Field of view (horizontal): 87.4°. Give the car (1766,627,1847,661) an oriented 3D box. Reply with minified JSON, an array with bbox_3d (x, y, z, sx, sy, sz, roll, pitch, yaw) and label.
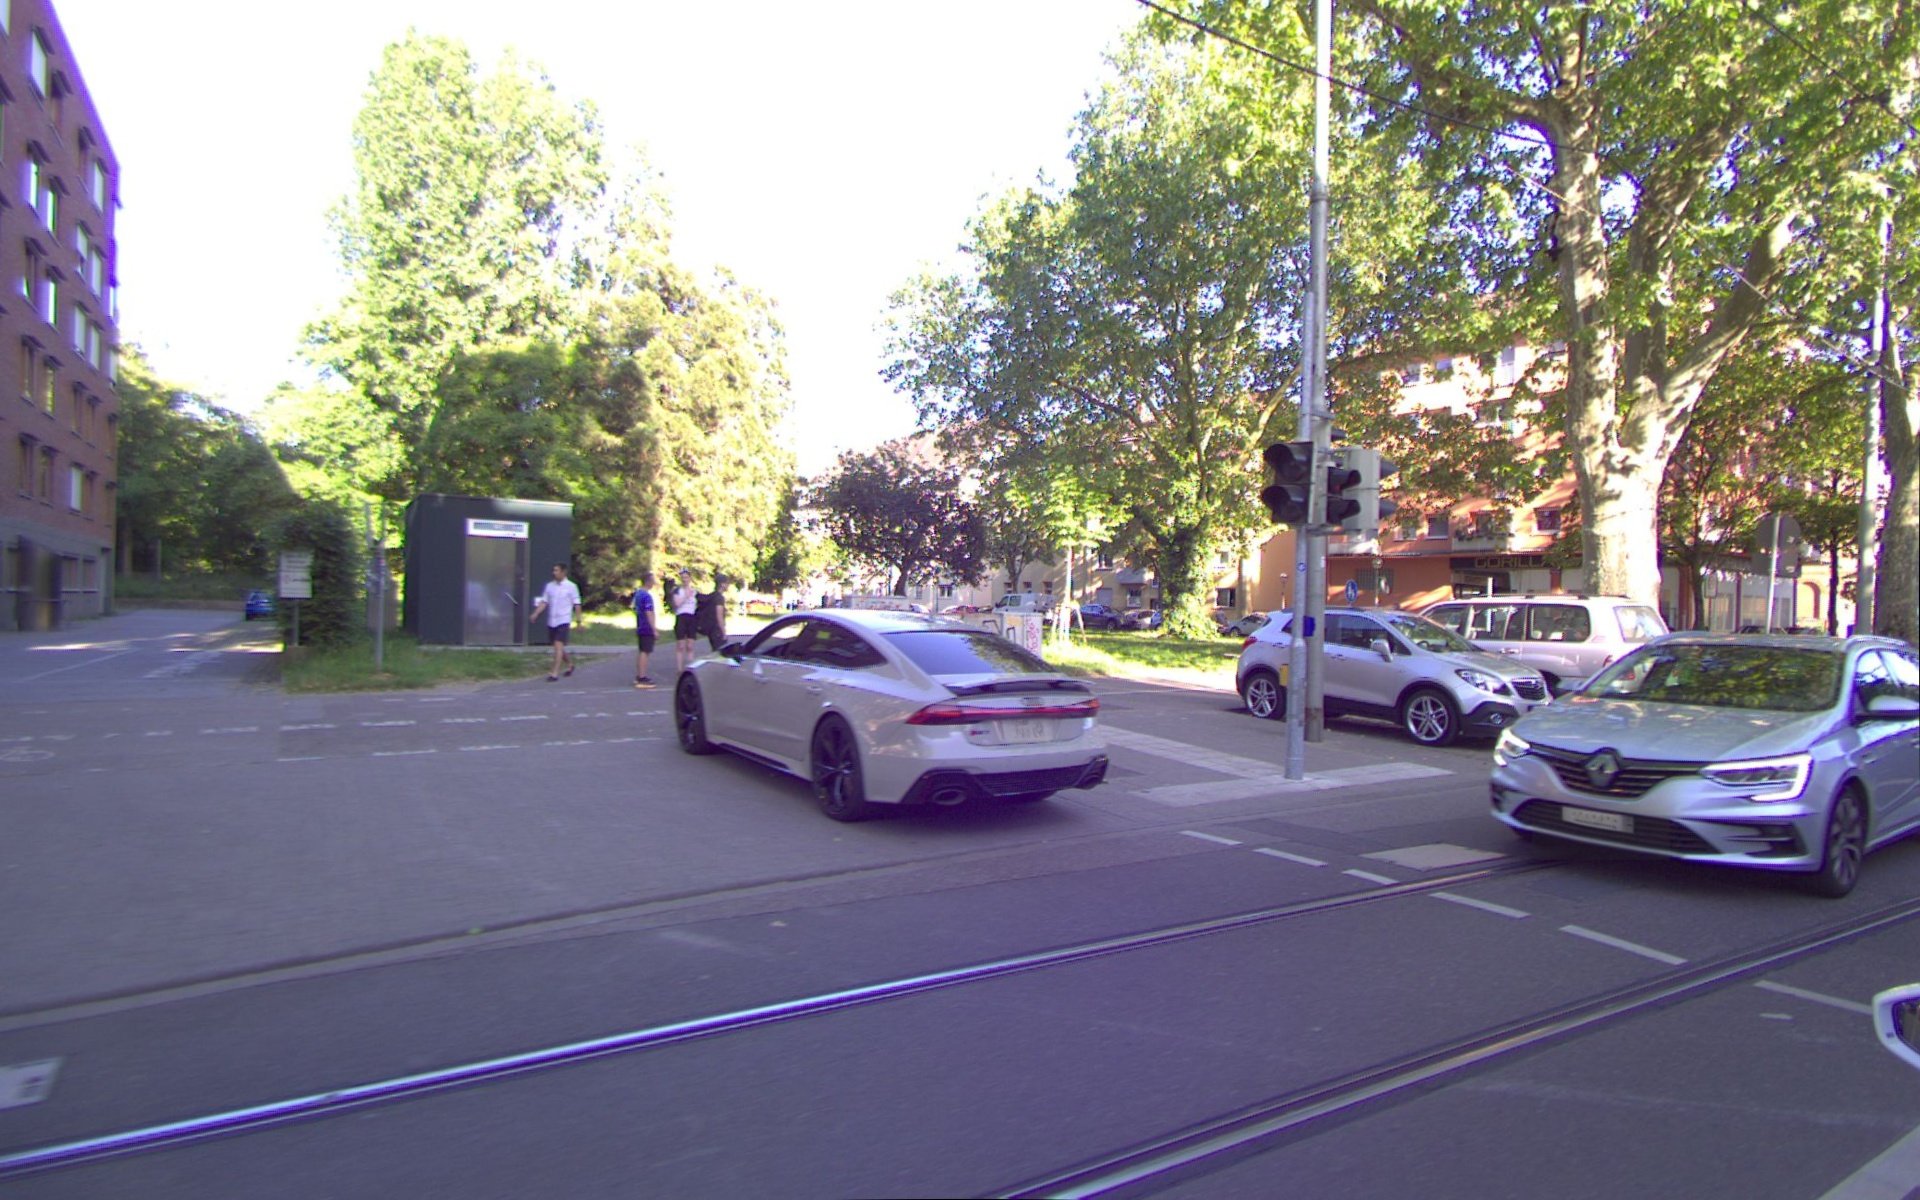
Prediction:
[{"bbox_3d":[41.245,2.143,48.908,3.957,1.507,1.936,2,0,-33],"label":"car"}]

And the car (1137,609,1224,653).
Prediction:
[{"bbox_3d":[11.454,1.587,52.342,1.985,2.040,3.952,2,0,-41],"label":"car"}]

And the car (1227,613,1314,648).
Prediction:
[{"bbox_3d":[14.762,1.419,47.896,1.674,1.469,3.679,2,0,-38],"label":"car"}]

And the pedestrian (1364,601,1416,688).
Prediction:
[{"bbox_3d":[9.323,0.968,21.780,0.742,1.834,0.641,2,1,-28],"label":"pedestrian"}]

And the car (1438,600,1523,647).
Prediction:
[{"bbox_3d":[24.562,1.122,47.348,4.885,2.030,1.975,2,0,-43],"label":"car"}]

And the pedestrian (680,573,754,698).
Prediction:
[{"bbox_3d":[-3.438,0.491,14.183,0.771,1.695,0.705,2,1,-33],"label":"pedestrian"}]

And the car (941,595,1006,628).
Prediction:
[{"bbox_3d":[0.909,0.796,68.581,1.981,2.040,4.697,2,0,-36],"label":"car"}]

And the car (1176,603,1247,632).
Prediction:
[{"bbox_3d":[15.260,1.063,60.759,4.448,1.639,1.927,2,0,-41],"label":"car"}]

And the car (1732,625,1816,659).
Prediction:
[{"bbox_3d":[37.735,1.940,46.559,3.851,1.426,1.936,2,0,-33],"label":"car"}]

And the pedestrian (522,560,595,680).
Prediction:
[{"bbox_3d":[-6.149,0.300,15.429,0.901,1.760,0.843,2,0,-16],"label":"pedestrian"}]

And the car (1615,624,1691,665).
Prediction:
[{"bbox_3d":[29.010,1.844,41.998,3.972,1.513,1.795,2,0,-44],"label":"car"}]

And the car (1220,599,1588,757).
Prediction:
[{"bbox_3d":[5.723,0.896,13.444,1.883,1.668,4.113,2,0,-34],"label":"car"}]

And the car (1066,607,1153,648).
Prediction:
[{"bbox_3d":[8.403,1.527,56.897,1.985,2.040,4.688,2,0,-41],"label":"car"}]

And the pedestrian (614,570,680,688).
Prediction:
[{"bbox_3d":[-4.631,0.423,14.871,0.684,1.681,0.561,2,1,31],"label":"pedestrian"}]

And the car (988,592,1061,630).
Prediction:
[{"bbox_3d":[4.056,0.676,63.857,2.024,2.227,4.697,2,0,-36],"label":"car"}]

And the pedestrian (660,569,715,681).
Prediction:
[{"bbox_3d":[-4.346,0.392,16.031,0.523,1.728,0.592,2,1,25],"label":"pedestrian"}]

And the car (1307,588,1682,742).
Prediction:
[{"bbox_3d":[7.714,0.824,14.970,1.919,1.858,4.542,2,0,-34],"label":"car"}]

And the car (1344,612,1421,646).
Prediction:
[{"bbox_3d":[22.074,1.537,52.425,4.448,1.639,1.927,2,0,-41],"label":"car"}]

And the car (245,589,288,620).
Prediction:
[{"bbox_3d":[-35.390,0.233,51.330,1.540,1.444,3.608,2,0,-31],"label":"car"}]

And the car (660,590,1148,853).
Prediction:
[{"bbox_3d":[-0.815,0.732,8.470,1.935,1.480,4.734,2,0,-34],"label":"car"}]

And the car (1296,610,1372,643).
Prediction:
[{"bbox_3d":[20.274,1.458,54.363,4.448,1.639,1.927,2,0,-41],"label":"car"}]

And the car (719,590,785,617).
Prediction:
[{"bbox_3d":[-14.211,0.223,68.656,4.055,1.639,1.883,2,0,-29],"label":"car"}]

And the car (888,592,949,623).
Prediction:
[{"bbox_3d":[-3.056,0.530,73.512,1.984,2.040,4.690,2,0,-39],"label":"car"}]

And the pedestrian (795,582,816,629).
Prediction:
[{"bbox_3d":[-5.733,0.208,37.262,0.699,1.695,0.778,2,0,-7],"label":"pedestrian"}]

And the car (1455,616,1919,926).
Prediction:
[{"bbox_3d":[5.436,0.931,6.881,4.159,1.480,1.765,2,0,-33],"label":"car"}]
